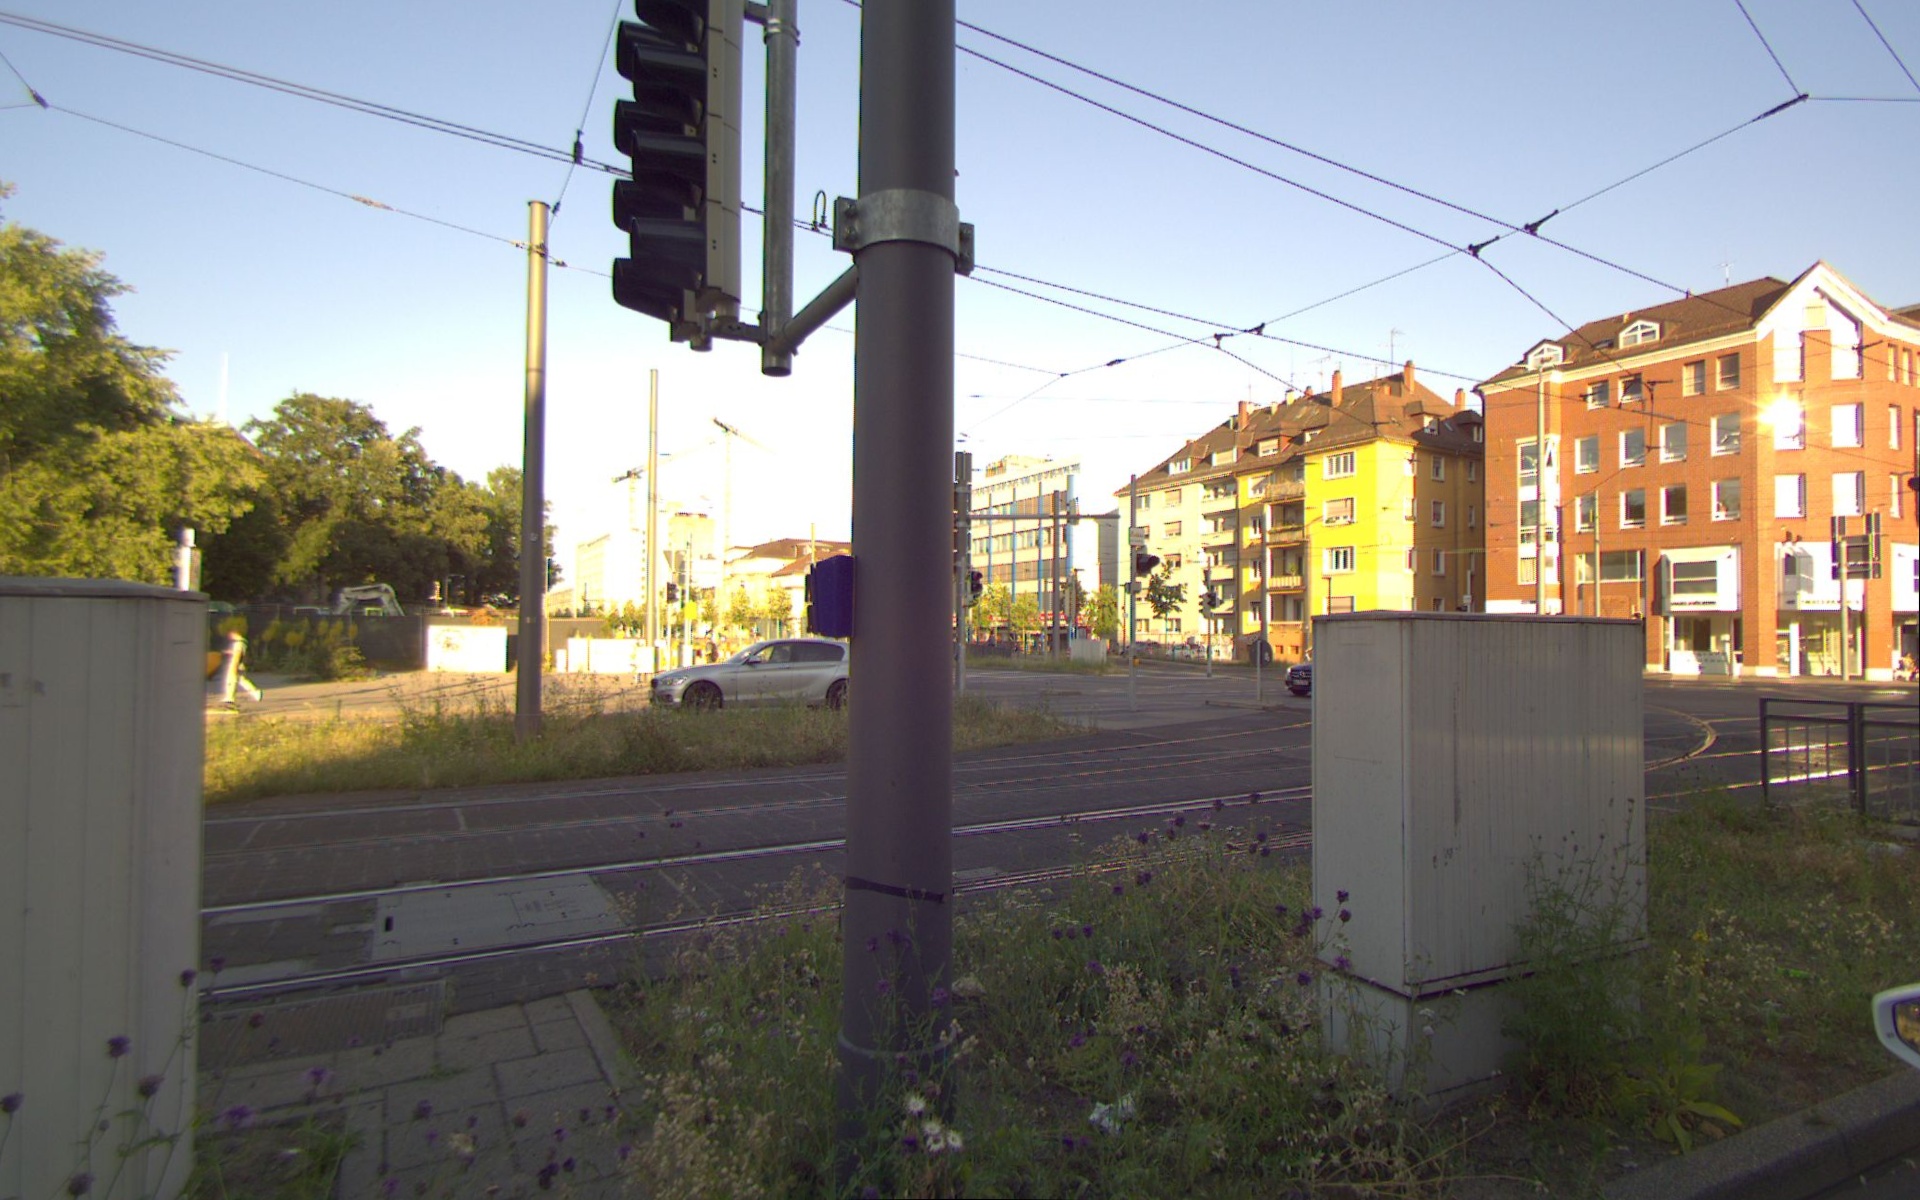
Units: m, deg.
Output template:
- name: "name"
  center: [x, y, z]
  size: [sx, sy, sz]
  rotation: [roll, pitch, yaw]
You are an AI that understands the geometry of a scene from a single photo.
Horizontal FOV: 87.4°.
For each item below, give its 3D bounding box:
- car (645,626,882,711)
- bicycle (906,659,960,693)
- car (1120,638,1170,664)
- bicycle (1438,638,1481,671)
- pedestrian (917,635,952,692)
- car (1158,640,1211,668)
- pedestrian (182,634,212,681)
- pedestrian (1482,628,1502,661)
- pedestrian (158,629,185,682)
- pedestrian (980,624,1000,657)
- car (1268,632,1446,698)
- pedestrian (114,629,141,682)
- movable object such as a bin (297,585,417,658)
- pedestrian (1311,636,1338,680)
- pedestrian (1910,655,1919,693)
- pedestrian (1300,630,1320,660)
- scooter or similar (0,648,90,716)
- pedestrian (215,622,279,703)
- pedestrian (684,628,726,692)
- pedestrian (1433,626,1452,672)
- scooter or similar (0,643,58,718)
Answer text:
- name: "car"
  center: [-3.719, 1.252, 19.106]
  size: [4.145, 1.467, 1.664]
  rotation: [1, -2, -26]
- name: "bicycle"
  center: [-0.944, 2.576, 34.402]
  size: [0.886, 1.074, 1.989]
  rotation: [2, -2, -36]
- name: "car"
  center: [15.514, 4.255, 84.313]
  size: [1.978, 2.040, 3.966]
  rotation: [1, -1, -32]
- name: "bicycle"
  center: [21.084, 2.287, 42.357]
  size: [1.992, 1.343, 0.615]
  rotation: [1, 0, -30]
- name: "pedestrian"
  center: [-0.870, 2.155, 34.357]
  size: [0.887, 1.936, 0.837]
  rotation: [1, -2, -37]
- name: "car"
  center: [17.918, 4.254, 80.298]
  size: [1.978, 2.040, 3.966]
  rotation: [1, -1, -32]
- name: "pedestrian"
  center: [-24.929, 1.879, 32.820]
  size: [0.617, 1.515, 0.637]
  rotation: [1, -2, -26]
- name: "pedestrian"
  center: [30.931, 2.583, 58.435]
  size: [0.656, 1.893, 0.800]
  rotation: [1, 0, -33]
- name: "pedestrian"
  center: [-25.455, 1.786, 32.435]
  size: [0.594, 1.680, 0.531]
  rotation: [1, -2, -34]
- name: "pedestrian"
  center: [1.682, 2.284, 56.625]
  size: [0.711, 1.892, 0.880]
  rotation: [-2, -3, 44]
- name: "car"
  center: [10.413, 1.657, 26.326]
  size: [4.424, 1.606, 1.986]
  rotation: [1, -2, -29]
- name: "pedestrian"
  center: [-26.767, 1.776, 32.293]
  size: [0.529, 1.680, 0.596]
  rotation: [-2, -3, 45]
- name: "movable object such as a bin"
  center: [-27.876, 1.032, 46.564]
  size: [4.268, 3.271, 1.996]
  rotation: [1, -2, -12]
- name: "pedestrian"
  center: [16.226, 2.590, 44.747]
  size: [0.924, 1.893, 0.839]
  rotation: [1, 0, 4]
- name: "pedestrian"
  center: [48.282, 3.720, 50.368]
  size: [0.665, 1.893, 0.634]
  rotation: [1, 0, 0]
- name: "pedestrian"
  center: [23.108, 2.977, 66.386]
  size: [0.830, 1.893, 0.934]
  rotation: [1, 0, -35]
- name: "scooter or similar"
  center: [-18.367, 1.622, 20.162]
  size: [0.507, 1.288, 1.255]
  rotation: [-1, -2, 24]
- name: "pedestrian"
  center: [-16.880, 1.468, 23.803]
  size: [0.961, 1.892, 0.882]
  rotation: [1, -2, -18]
- name: "pedestrian"
  center: [-7.997, 1.873, 31.590]
  size: [1.004, 1.970, 1.101]
  rotation: [0, -2, 1]
- name: "pedestrian"
  center: [20.504, 2.077, 42.673]
  size: [0.556, 1.893, 0.499]
  rotation: [1, 0, -31]
- name: "scooter or similar"
  center: [-19.123, 1.608, 20.288]
  size: [0.507, 1.465, 1.257]
  rotation: [0, -2, 11]
